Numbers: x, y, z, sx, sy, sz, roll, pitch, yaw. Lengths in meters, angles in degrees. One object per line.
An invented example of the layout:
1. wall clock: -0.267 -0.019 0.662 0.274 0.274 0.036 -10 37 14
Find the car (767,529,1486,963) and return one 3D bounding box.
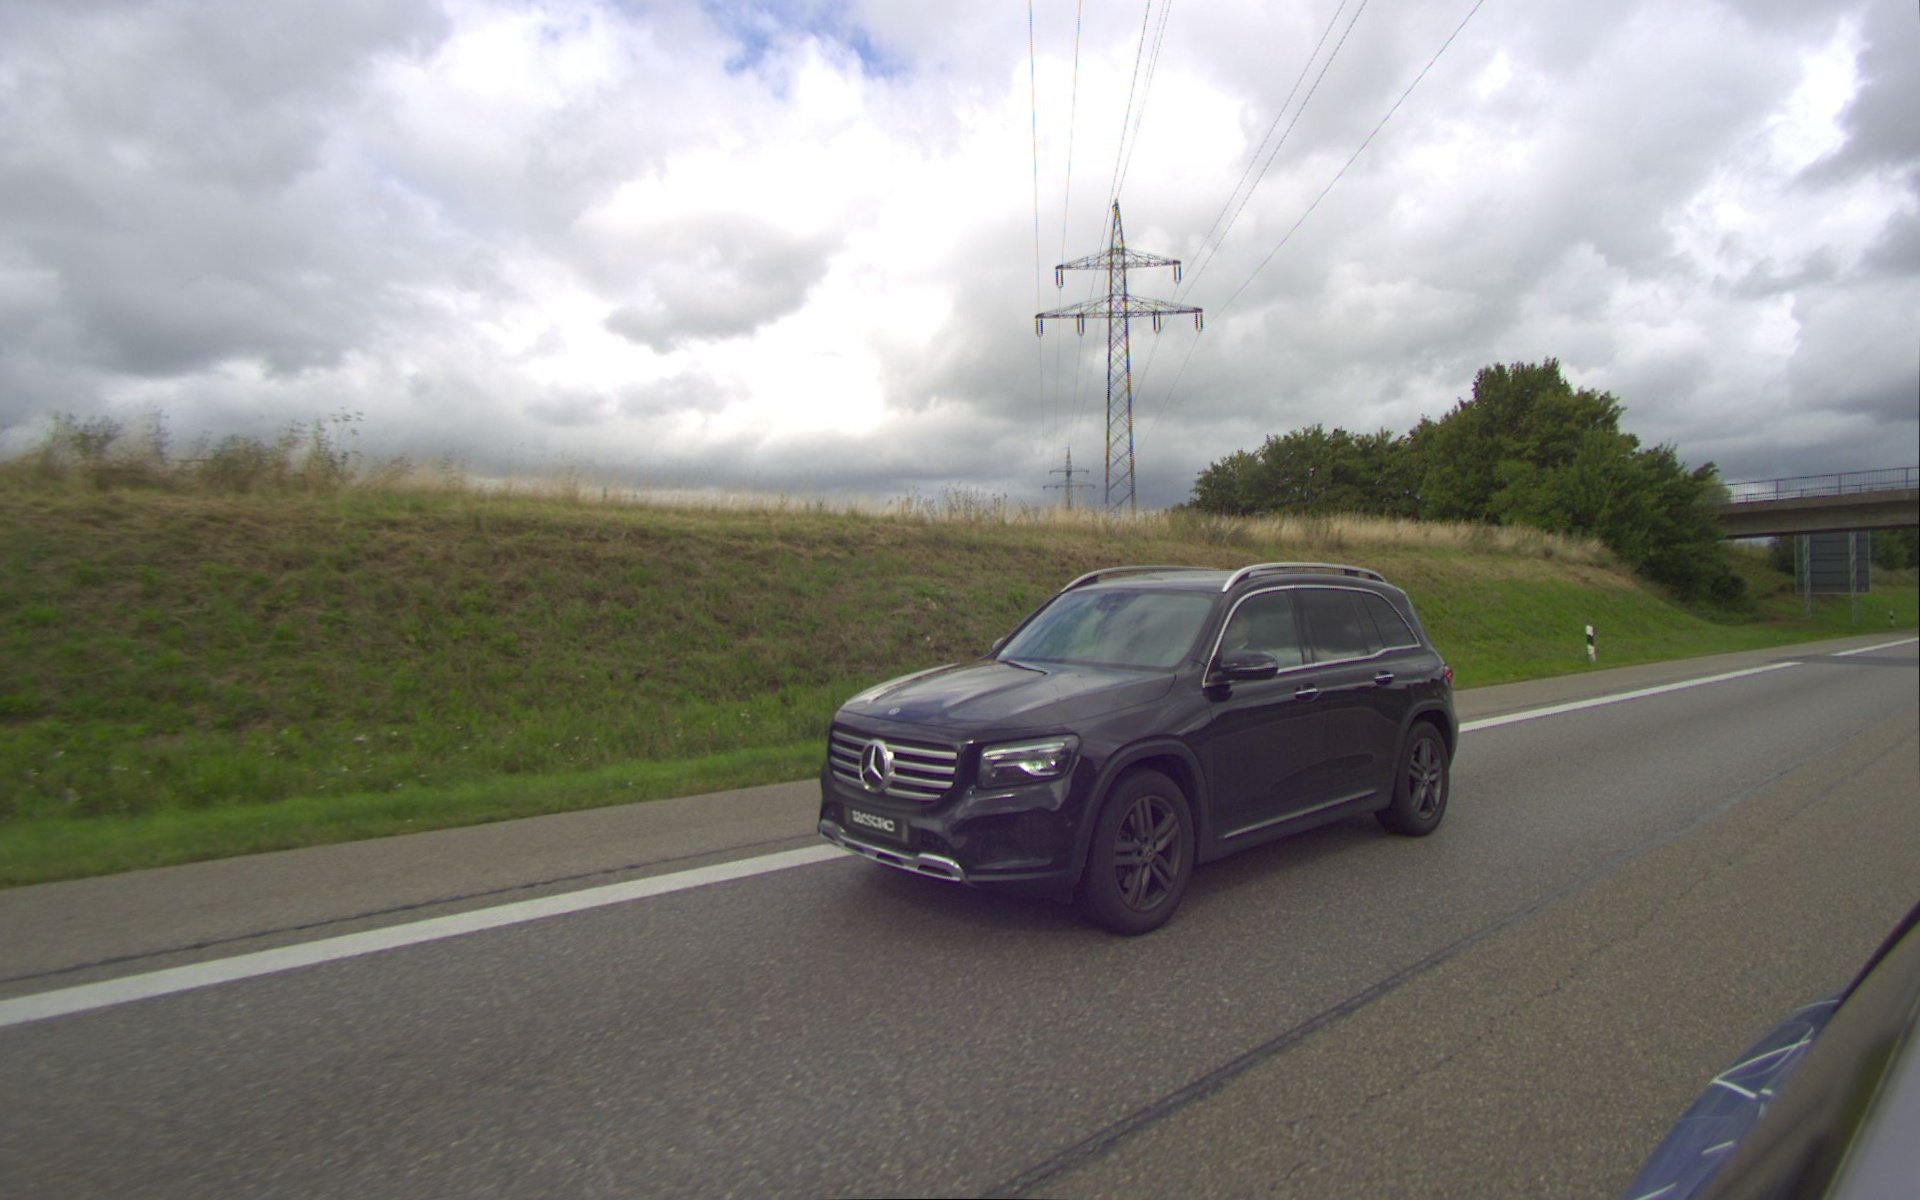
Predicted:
1. car: 1.217 0.510 5.898 4.284 1.629 1.837 -1 1 -41
